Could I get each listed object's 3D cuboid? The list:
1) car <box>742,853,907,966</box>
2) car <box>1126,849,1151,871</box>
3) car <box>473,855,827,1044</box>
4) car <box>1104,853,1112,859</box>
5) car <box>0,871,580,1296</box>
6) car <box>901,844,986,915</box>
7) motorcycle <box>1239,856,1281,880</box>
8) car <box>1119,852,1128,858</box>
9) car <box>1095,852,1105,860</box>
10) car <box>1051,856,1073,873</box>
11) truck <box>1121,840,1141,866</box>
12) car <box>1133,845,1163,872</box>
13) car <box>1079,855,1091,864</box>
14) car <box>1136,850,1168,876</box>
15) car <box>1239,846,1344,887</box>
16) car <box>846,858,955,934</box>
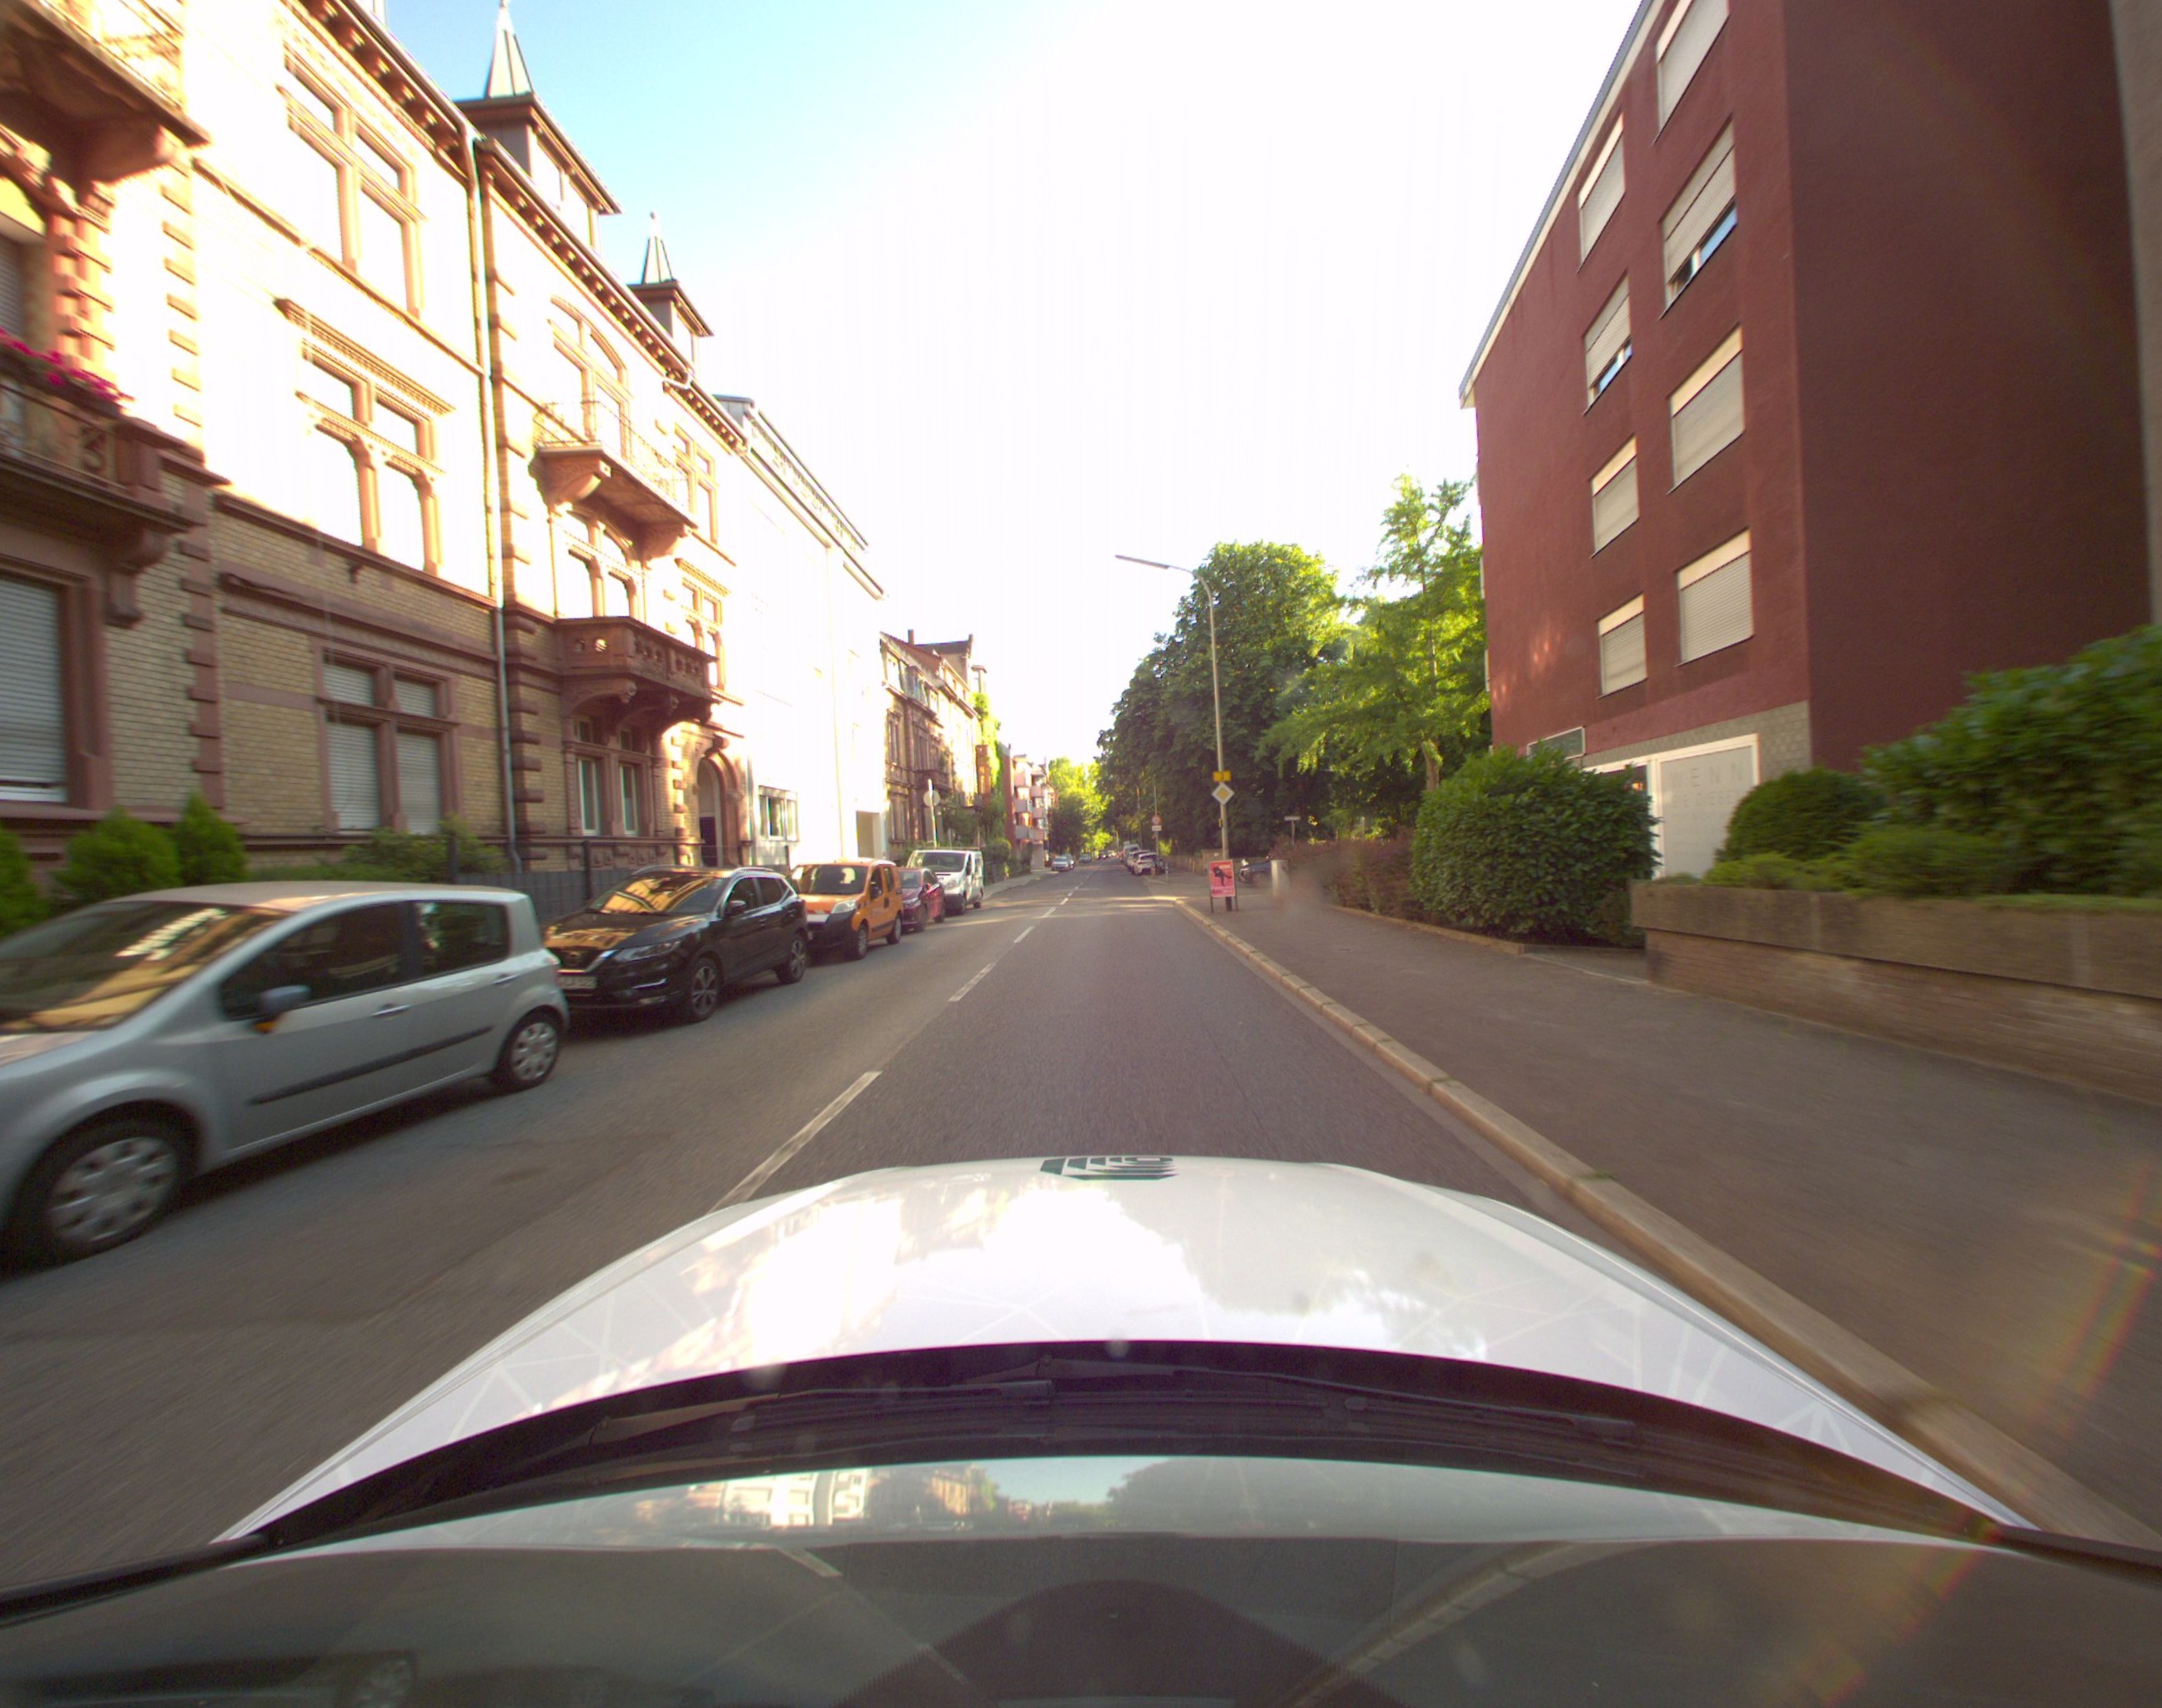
[{"bbox_3d":[-4.480,0.876,14.849,1.696,1.738,3.857,-1,0,1],"label":"car"},{"bbox_3d":[4.987,0.501,71.007,1.985,1.737,4.004,-3,1,3],"label":"car"},{"bbox_3d":[-4.744,0.899,9.858,1.695,1.707,4.444,-1,0,3],"label":"car"},{"bbox_3d":[7.178,0.548,216.074,1.986,1.491,4.473,-3,1,2],"label":"car"},{"bbox_3d":[-5.035,0.963,4.823,1.695,1.584,3.638,-1,0,3],"label":"car"},{"bbox_3d":[-4.230,0.722,25.775,1.786,2.010,4.698,-1,0,1],"label":"car"},{"bbox_3d":[8.817,0.695,40.109,1.897,1.112,0.791,-1,1,4],"label":"motorcycle"},{"bbox_3d":[11.284,0.213,218.192,1.988,1.491,4.468,-3,1,-1],"label":"car"},{"bbox_3d":[4.352,0.404,185.868,1.986,1.491,4.473,-3,1,2],"label":"car"},{"bbox_3d":[-2.002,1.084,86.641,1.986,1.491,4.473,-3,1,2],"label":"car"},{"bbox_3d":[5.859,-0.176,95.816,1.986,2.896,4.472,-3,1,2],"label":"truck"},{"bbox_3d":[4.914,0.300,60.102,1.985,1.737,4.004,-3,1,3],"label":"car"},{"bbox_3d":[0.744,0.985,153.706,1.986,1.491,4.473,-3,1,2],"label":"car"},{"bbox_3d":[4.694,0.548,54.510,1.985,1.517,4.004,-3,1,3],"label":"car"},{"bbox_3d":[9.299,0.535,36.304,4.409,1.653,2.006,-1,1,10],"label":"car"},{"bbox_3d":[-4.335,0.952,20.202,1.696,1.619,4.118,-1,0,1],"label":"car"}]
